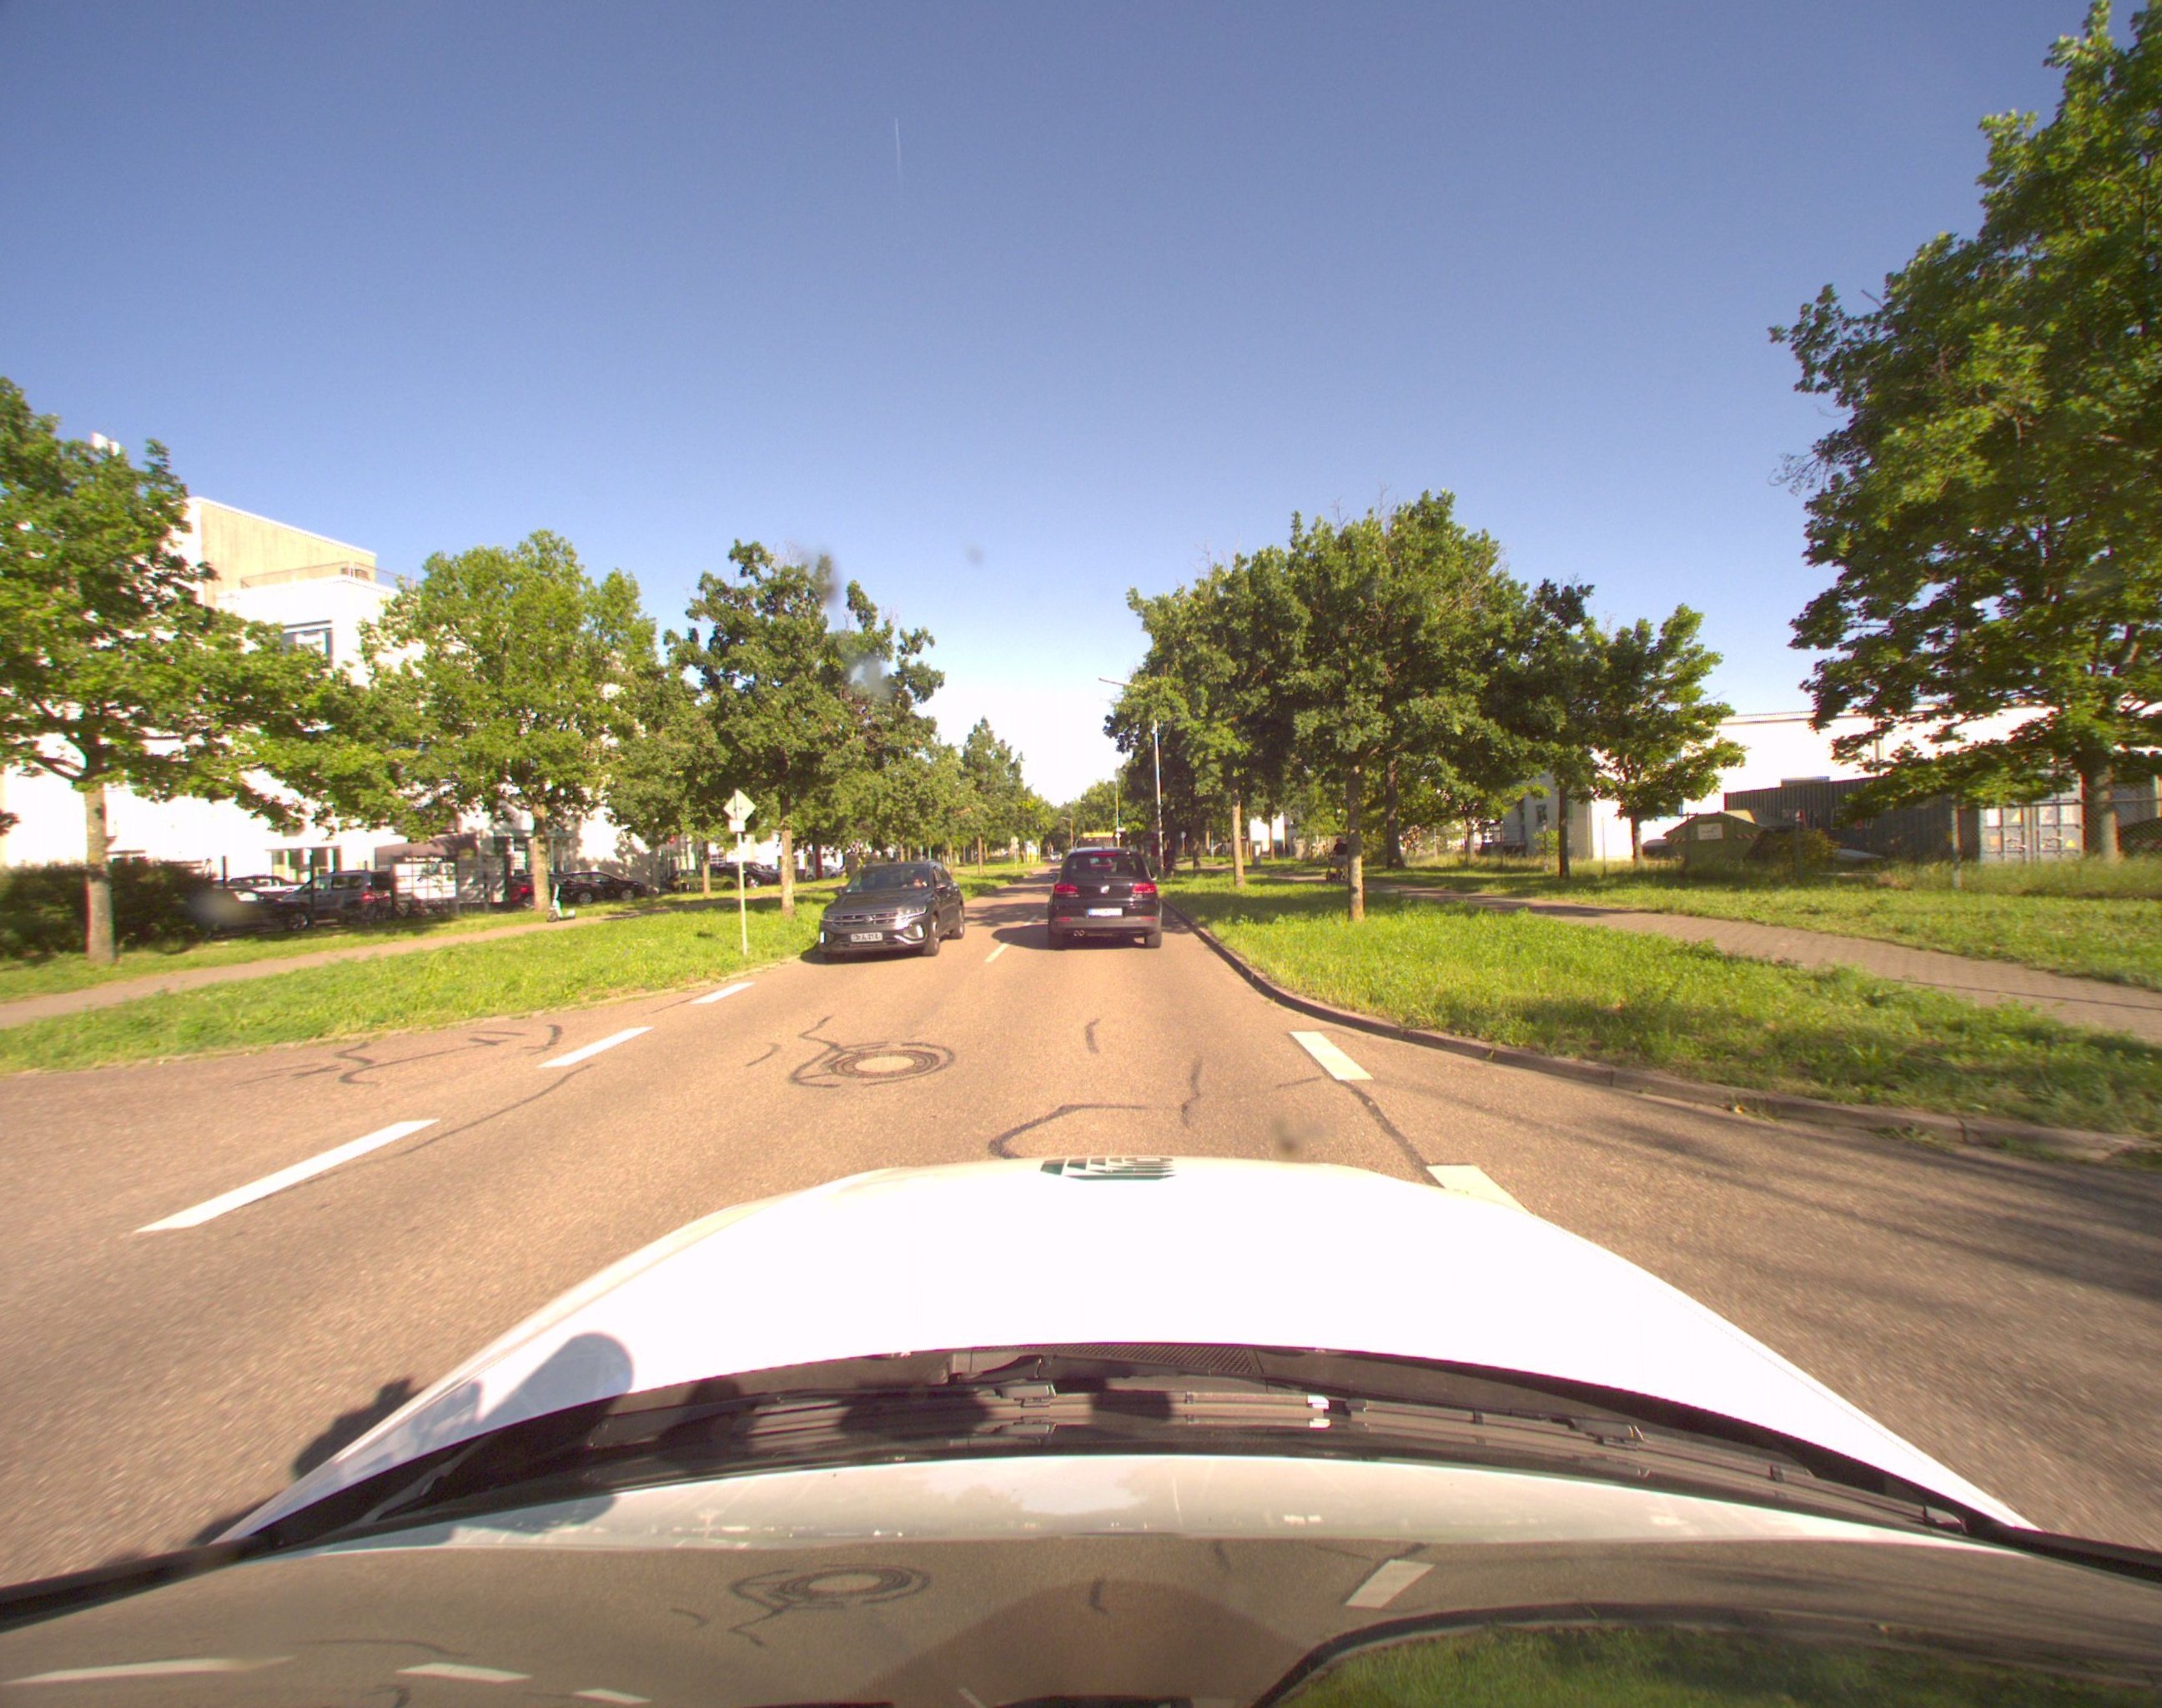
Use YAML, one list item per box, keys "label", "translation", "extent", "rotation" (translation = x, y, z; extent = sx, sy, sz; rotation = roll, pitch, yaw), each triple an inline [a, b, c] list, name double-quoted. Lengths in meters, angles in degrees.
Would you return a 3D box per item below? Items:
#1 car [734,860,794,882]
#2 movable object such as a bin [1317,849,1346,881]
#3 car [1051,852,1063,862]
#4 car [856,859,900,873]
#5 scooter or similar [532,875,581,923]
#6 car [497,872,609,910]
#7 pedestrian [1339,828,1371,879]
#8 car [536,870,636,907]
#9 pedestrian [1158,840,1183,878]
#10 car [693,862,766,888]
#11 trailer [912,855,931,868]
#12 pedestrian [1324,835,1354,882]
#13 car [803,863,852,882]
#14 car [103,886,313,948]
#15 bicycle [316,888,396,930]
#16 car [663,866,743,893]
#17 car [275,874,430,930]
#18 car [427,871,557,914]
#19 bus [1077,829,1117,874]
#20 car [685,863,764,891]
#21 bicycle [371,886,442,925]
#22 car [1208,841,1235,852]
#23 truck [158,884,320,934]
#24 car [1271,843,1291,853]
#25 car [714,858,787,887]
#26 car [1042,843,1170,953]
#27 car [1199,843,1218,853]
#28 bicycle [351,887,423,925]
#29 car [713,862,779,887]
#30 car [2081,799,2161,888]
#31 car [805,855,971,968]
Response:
- label: "car"
  translation: [-29.790, 1.600, 76.527]
  extent: [4.971, 1.906, 1.950]
  rotation: [-2, 0, 17]
- label: "movable object such as a bin"
  translation: [8.981, 0.399, 29.220]
  extent: [0.723, 1.081, 0.868]
  rotation: [-4, 0, 1]
- label: "car"
  translation: [-3.689, 0.458, 123.417]
  extent: [1.739, 1.464, 4.423]
  rotation: [-3, 1, -2]
- label: "car"
  translation: [-23.741, 1.417, 95.410]
  extent: [4.479, 1.479, 1.944]
  rotation: [-2, 0, 5]
- label: "scooter or similar"
  translation: [-15.117, 1.275, 23.510]
  extent: [0.393, 1.279, 1.442]
  rotation: [-2, 0, 2]
- label: "car"
  translation: [-23.878, 1.635, 36.905]
  extent: [4.022, 1.448, 1.779]
  rotation: [-3, 0, -42]
- label: "pedestrian"
  translation: [9.832, -0.019, 29.256]
  extent: [0.723, 1.755, 0.868]
  rotation: [-4, 0, 1]
- label: "car"
  translation: [-24.162, 1.637, 39.903]
  extent: [4.010, 1.511, 1.785]
  rotation: [-3, 1, -28]
- label: "pedestrian"
  translation: [4.125, 0.225, 37.556]
  extent: [1.016, 1.651, 1.100]
  rotation: [-2, 0, 1]
- label: "car"
  translation: [-23.873, 1.402, 55.384]
  extent: [4.190, 1.491, 1.977]
  rotation: [-3, 0, -38]
- label: "trailer"
  translation: [-24.298, 1.104, 124.117]
  extent: [2.096, 1.914, 3.739]
  rotation: [-2, 0, -1]
- label: "pedestrian"
  translation: [8.961, 0.150, 28.343]
  extent: [0.723, 1.603, 0.868]
  rotation: [-2, 0, 1]
- label: "car"
  translation: [-23.323, 1.681, 74.976]
  extent: [3.714, 1.618, 1.972]
  rotation: [-2, 0, 15]
- label: "car"
  translation: [-26.005, 1.825, 24.488]
  extent: [1.787, 1.448, 4.005]
  rotation: [-2, 0, 4]
- label: "bicycle"
  translation: [-21.716, 1.628, 24.451]
  extent: [0.637, 1.087, 1.891]
  rotation: [-2, 0, 1]
- label: "car"
  translation: [-22.790, 1.500, 49.118]
  extent: [3.975, 1.401, 1.976]
  rotation: [-3, 0, -41]
- label: "car"
  translation: [-25.473, 1.648, 28.534]
  extent: [3.990, 1.783, 2.032]
  rotation: [-1, 0, 12]
- label: "car"
  translation: [-23.993, 1.543, 33.261]
  extent: [1.778, 1.448, 4.024]
  rotation: [-2, 0, 43]
- label: "bus"
  translation: [1.253, -0.212, 69.933]
  extent: [2.757, 3.456, 11.202]
  rotation: [-2, 0, -2]
- label: "car"
  translation: [-22.877, 1.452, 52.325]
  extent: [4.192, 1.538, 1.874]
  rotation: [-3, 0, -41]
- label: "bicycle"
  translation: [-21.374, 1.611, 25.855]
  extent: [0.637, 1.087, 1.891]
  rotation: [-2, 0, 1]
- label: "car"
  translation: [26.662, -1.423, 154.637]
  extent: [4.625, 1.744, 2.185]
  rotation: [-2, 0, -9]
- label: "truck"
  translation: [-30.559, 1.945, 29.612]
  extent: [4.581, 1.624, 2.097]
  rotation: [-1, 0, 15]
- label: "car"
  translation: [29.355, -0.916, 119.579]
  extent: [1.762, 1.383, 3.762]
  rotation: [-2, 0, -4]
- label: "car"
  translation: [-25.838, 1.398, 63.793]
  extent: [4.885, 2.013, 1.976]
  rotation: [-3, 0, -41]
- label: "car"
  translation: [0.426, 0.647, 14.585]
  extent: [1.929, 1.656, 4.428]
  rotation: [-1, 1, 1]
- label: "car"
  translation: [21.991, -1.030, 140.883]
  extent: [2.180, 1.744, 4.635]
  rotation: [-2, 0, -4]
- label: "bicycle"
  translation: [-22.258, 1.646, 26.171]
  extent: [0.637, 1.087, 1.891]
  rotation: [-2, 0, 1]
- label: "car"
  translation: [-24.216, 1.465, 58.869]
  extent: [4.184, 1.562, 1.980]
  rotation: [-3, 0, -31]
- label: "car"
  translation: [21.274, -0.238, 14.722]
  extent: [1.998, 1.664, 3.598]
  rotation: [-2, 0, 1]
- label: "car"
  translation: [-3.181, 0.859, 14.417]
  extent: [1.799, 1.536, 4.494]
  rotation: [-4, 1, 0]
